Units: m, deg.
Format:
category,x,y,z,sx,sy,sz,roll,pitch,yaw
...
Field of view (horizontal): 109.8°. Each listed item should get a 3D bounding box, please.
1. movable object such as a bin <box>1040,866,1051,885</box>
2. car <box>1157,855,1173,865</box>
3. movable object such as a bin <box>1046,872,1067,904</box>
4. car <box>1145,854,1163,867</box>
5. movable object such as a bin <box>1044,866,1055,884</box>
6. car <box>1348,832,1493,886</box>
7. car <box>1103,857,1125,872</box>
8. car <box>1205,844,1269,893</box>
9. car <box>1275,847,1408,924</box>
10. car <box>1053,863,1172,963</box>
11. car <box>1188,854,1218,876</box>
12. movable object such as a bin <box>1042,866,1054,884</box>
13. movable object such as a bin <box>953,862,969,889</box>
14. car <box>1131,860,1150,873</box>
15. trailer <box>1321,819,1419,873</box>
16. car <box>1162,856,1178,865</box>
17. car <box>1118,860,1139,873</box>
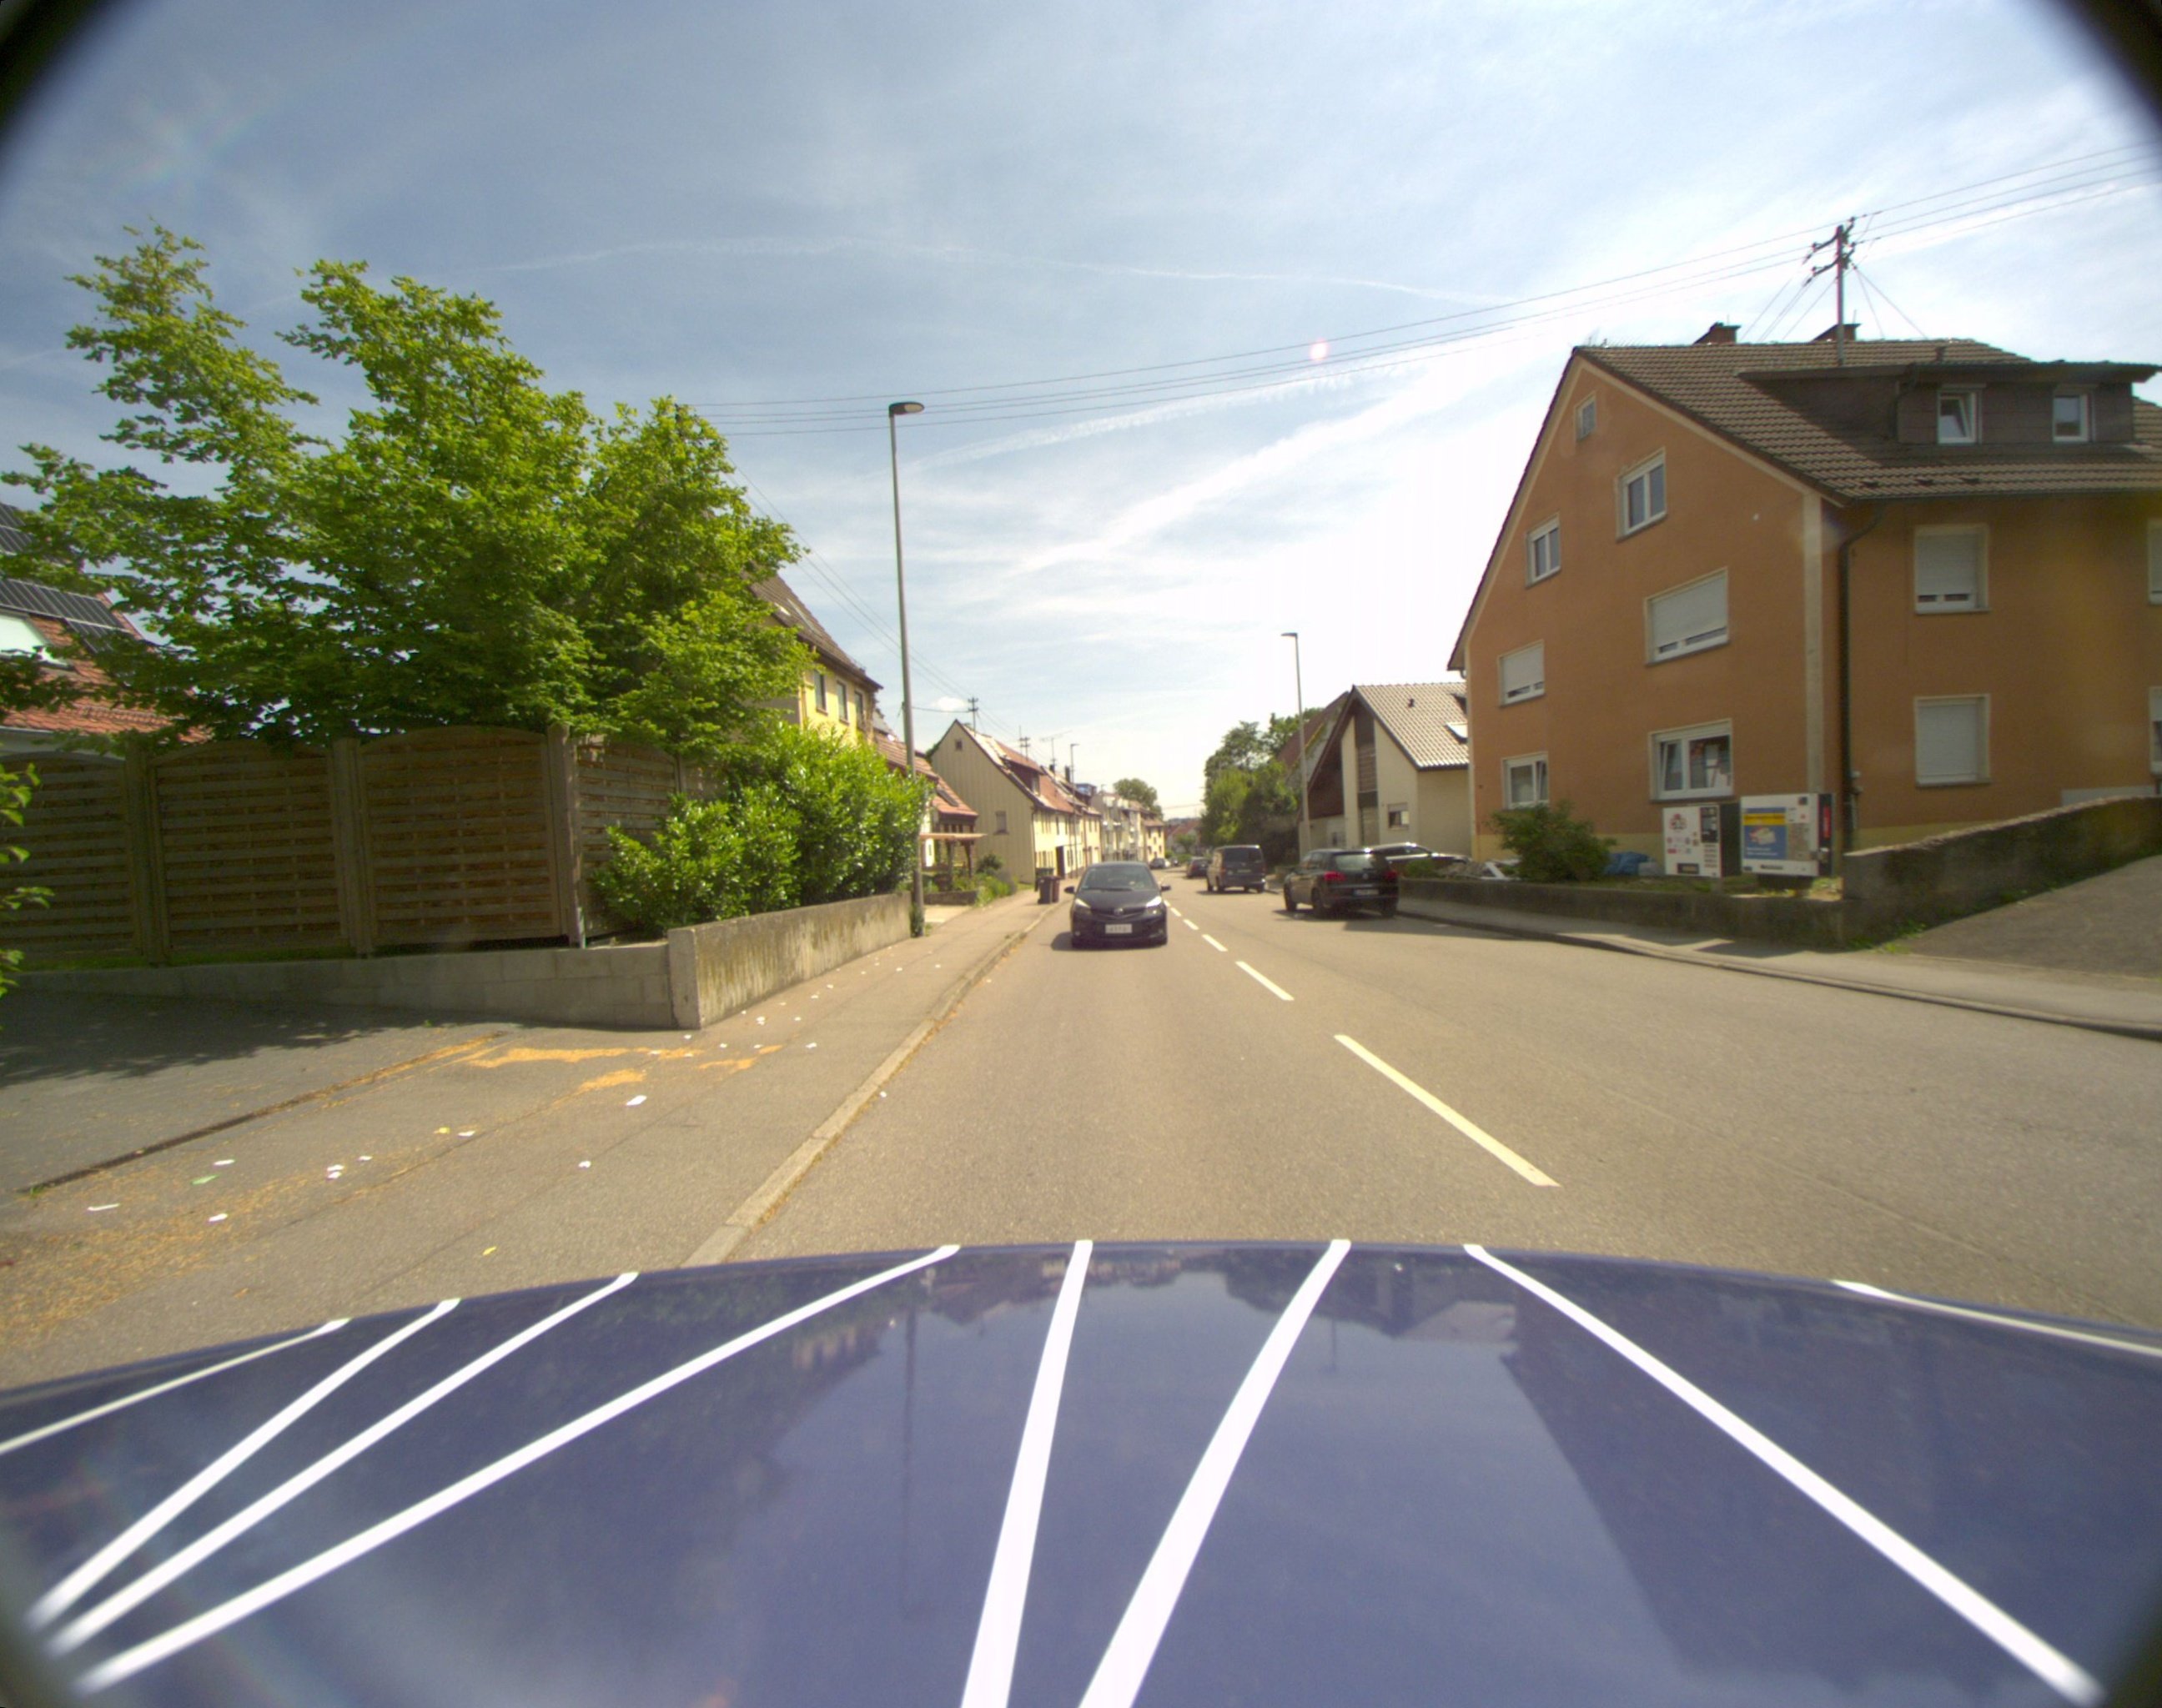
category,x,y,z,sx,sy,sz,roll,pitch,yaw
movable object such as a bin,-1.948,1.165,41.762,0.547,1.027,0.552,0,0,6
car,12.817,0.884,115.704,1.791,1.447,4.721,-2,0,13
movable object such as a bin,-0.828,1.140,25.714,0.494,1.027,0.549,2,1,26
car,10.224,0.911,106.248,1.956,1.706,4.721,-2,0,13
movable object such as a bin,-1.783,1.176,43.276,0.547,1.027,0.552,0,0,6
car,12.003,0.174,27.066,4.240,1.397,1.821,-6,0,-2
car,3.164,0.978,72.794,1.669,1.344,4.189,-3,0,7
car,6.574,0.569,32.597,1.895,1.926,4.987,-1,0,2
car,6.236,0.693,18.741,1.773,1.626,4.287,-2,0,0
car,0.751,0.964,14.169,1.724,1.448,4.432,-2,0,8
car,8.633,0.744,54.082,1.823,1.464,4.778,-2,-1,6
movable object such as a bin,-1.857,1.167,42.687,0.547,1.027,0.552,0,0,6
movable object such as a bin,-5.233,0.937,33.132,0.536,1.151,0.549,4,1,1
car,7.366,1.514,93.952,1.800,1.416,4.293,-1,1,11
trailer,14.073,-0.388,37.187,3.840,2.002,2.000,-9,0,1
car,14.375,1.009,122.313,1.791,1.412,4.363,-2,0,15
car,5.250,1.344,83.463,1.797,1.394,4.415,-1,0,10
